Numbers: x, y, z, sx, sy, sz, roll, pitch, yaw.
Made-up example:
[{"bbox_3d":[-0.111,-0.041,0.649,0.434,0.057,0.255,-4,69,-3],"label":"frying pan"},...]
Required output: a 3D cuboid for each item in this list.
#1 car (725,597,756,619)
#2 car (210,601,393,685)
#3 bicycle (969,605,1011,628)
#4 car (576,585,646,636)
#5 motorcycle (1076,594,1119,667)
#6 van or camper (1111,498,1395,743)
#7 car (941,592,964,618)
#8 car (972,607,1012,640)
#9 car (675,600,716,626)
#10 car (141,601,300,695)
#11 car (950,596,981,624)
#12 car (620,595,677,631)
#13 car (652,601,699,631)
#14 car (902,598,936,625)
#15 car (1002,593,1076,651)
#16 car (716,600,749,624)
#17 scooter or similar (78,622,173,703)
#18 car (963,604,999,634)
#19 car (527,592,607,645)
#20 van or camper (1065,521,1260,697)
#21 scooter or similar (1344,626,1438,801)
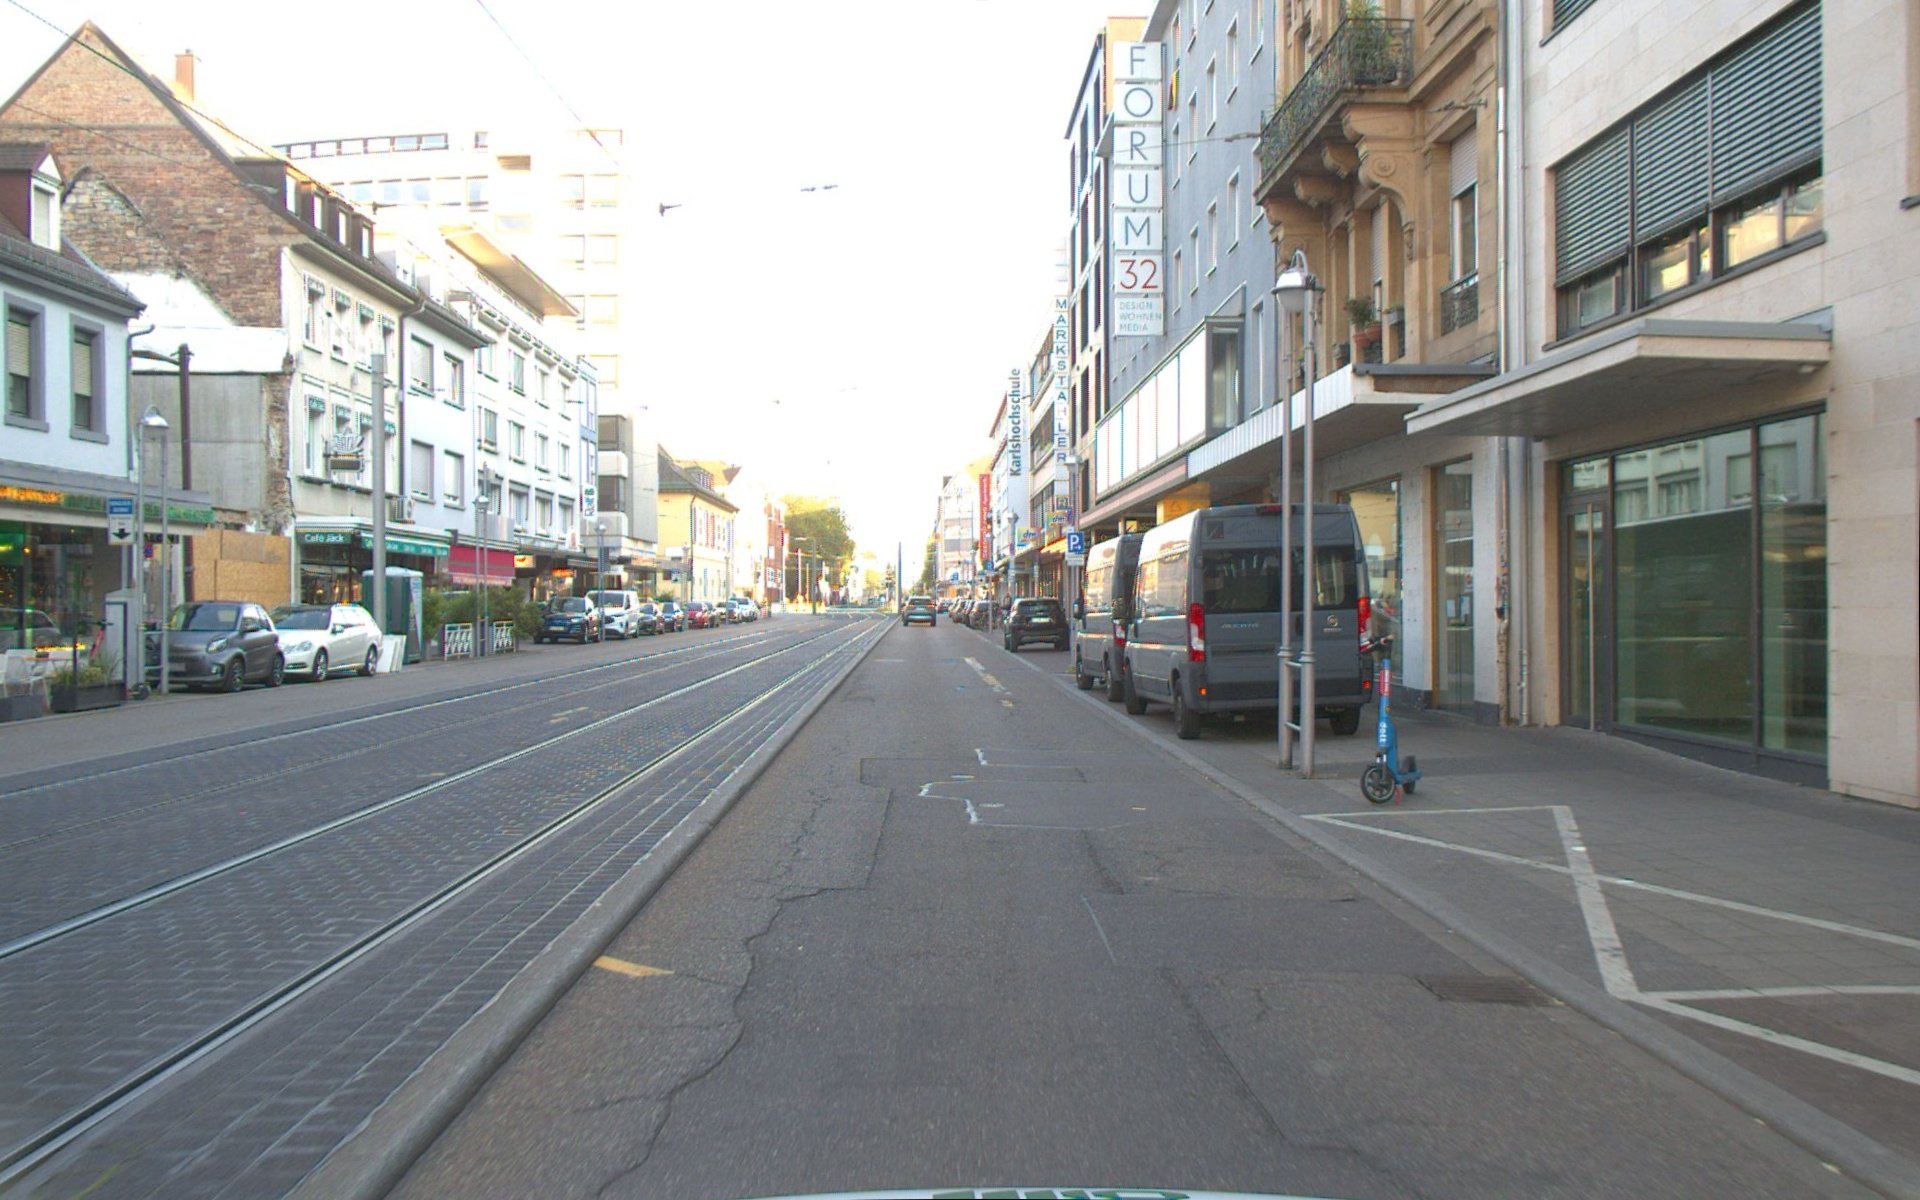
[{"bbox_3d":[-15.515,0.536,116.820,1.755,1.475,3.890,2,0,-2],"label":"car"},{"bbox_3d":[-13.225,0.817,33.570,1.812,1.531,4.840,2,0,-1],"label":"car"},{"bbox_3d":[1.498,0.842,83.949,2.077,1.109,0.591,-1,0,-4],"label":"bicycle"},{"bbox_3d":[-14.298,0.414,68.052,1.878,1.969,4.840,2,0,-1],"label":"car"},{"bbox_3d":[2.881,0.615,34.493,0.795,1.441,2.006,-2,0,7],"label":"motorcycle"},{"bbox_3d":[3.357,0.214,20.413,2.145,2.468,6.130,-3,0,-2],"label":"van or camper"},{"bbox_3d":[-0.657,0.459,147.608,1.904,2.183,4.544,-2,0,-1],"label":"car"},{"bbox_3d":[1.684,1.226,87.653,1.904,1.572,4.544,-2,0,-1],"label":"car"},{"bbox_3d":[-14.724,0.699,92.308,1.755,1.362,3.890,2,0,-2],"label":"car"},{"bbox_3d":[-12.970,0.811,29.157,1.559,1.531,2.811,2,0,-2],"label":"car"},{"bbox_3d":[0.369,0.671,109.137,1.904,1.733,4.544,-2,0,-1],"label":"car"},{"bbox_3d":[-14.267,0.593,75.991,1.879,1.547,4.628,2,0,-2],"label":"car"},{"bbox_3d":[-14.147,0.783,82.290,1.755,1.362,3.890,2,0,-2],"label":"car"},{"bbox_3d":[-2.336,0.646,95.689,1.904,1.572,4.544,0,0,-1],"label":"car"},{"bbox_3d":[2.314,0.628,49.540,1.904,1.572,4.544,-2,0,-1],"label":"car"},{"bbox_3d":[-15.204,0.790,110.785,1.755,1.475,3.890,2,0,-2],"label":"car"},{"bbox_3d":[-13.014,0.972,25.796,1.287,1.226,0.294,2,0,-1],"label":"scooter or similar"},{"bbox_3d":[1.182,1.045,93.982,1.904,1.572,4.544,-2,0,-1],"label":"car"},{"bbox_3d":[-14.268,0.658,60.246,1.878,1.794,4.428,2,0,-1],"label":"car"},{"bbox_3d":[3.133,0.132,26.907,2.145,2.468,5.514,-3,0,-3],"label":"van or camper"},{"bbox_3d":[3.312,0.844,12.670,0.347,1.245,1.113,-3,0,31],"label":"scooter or similar"}]
